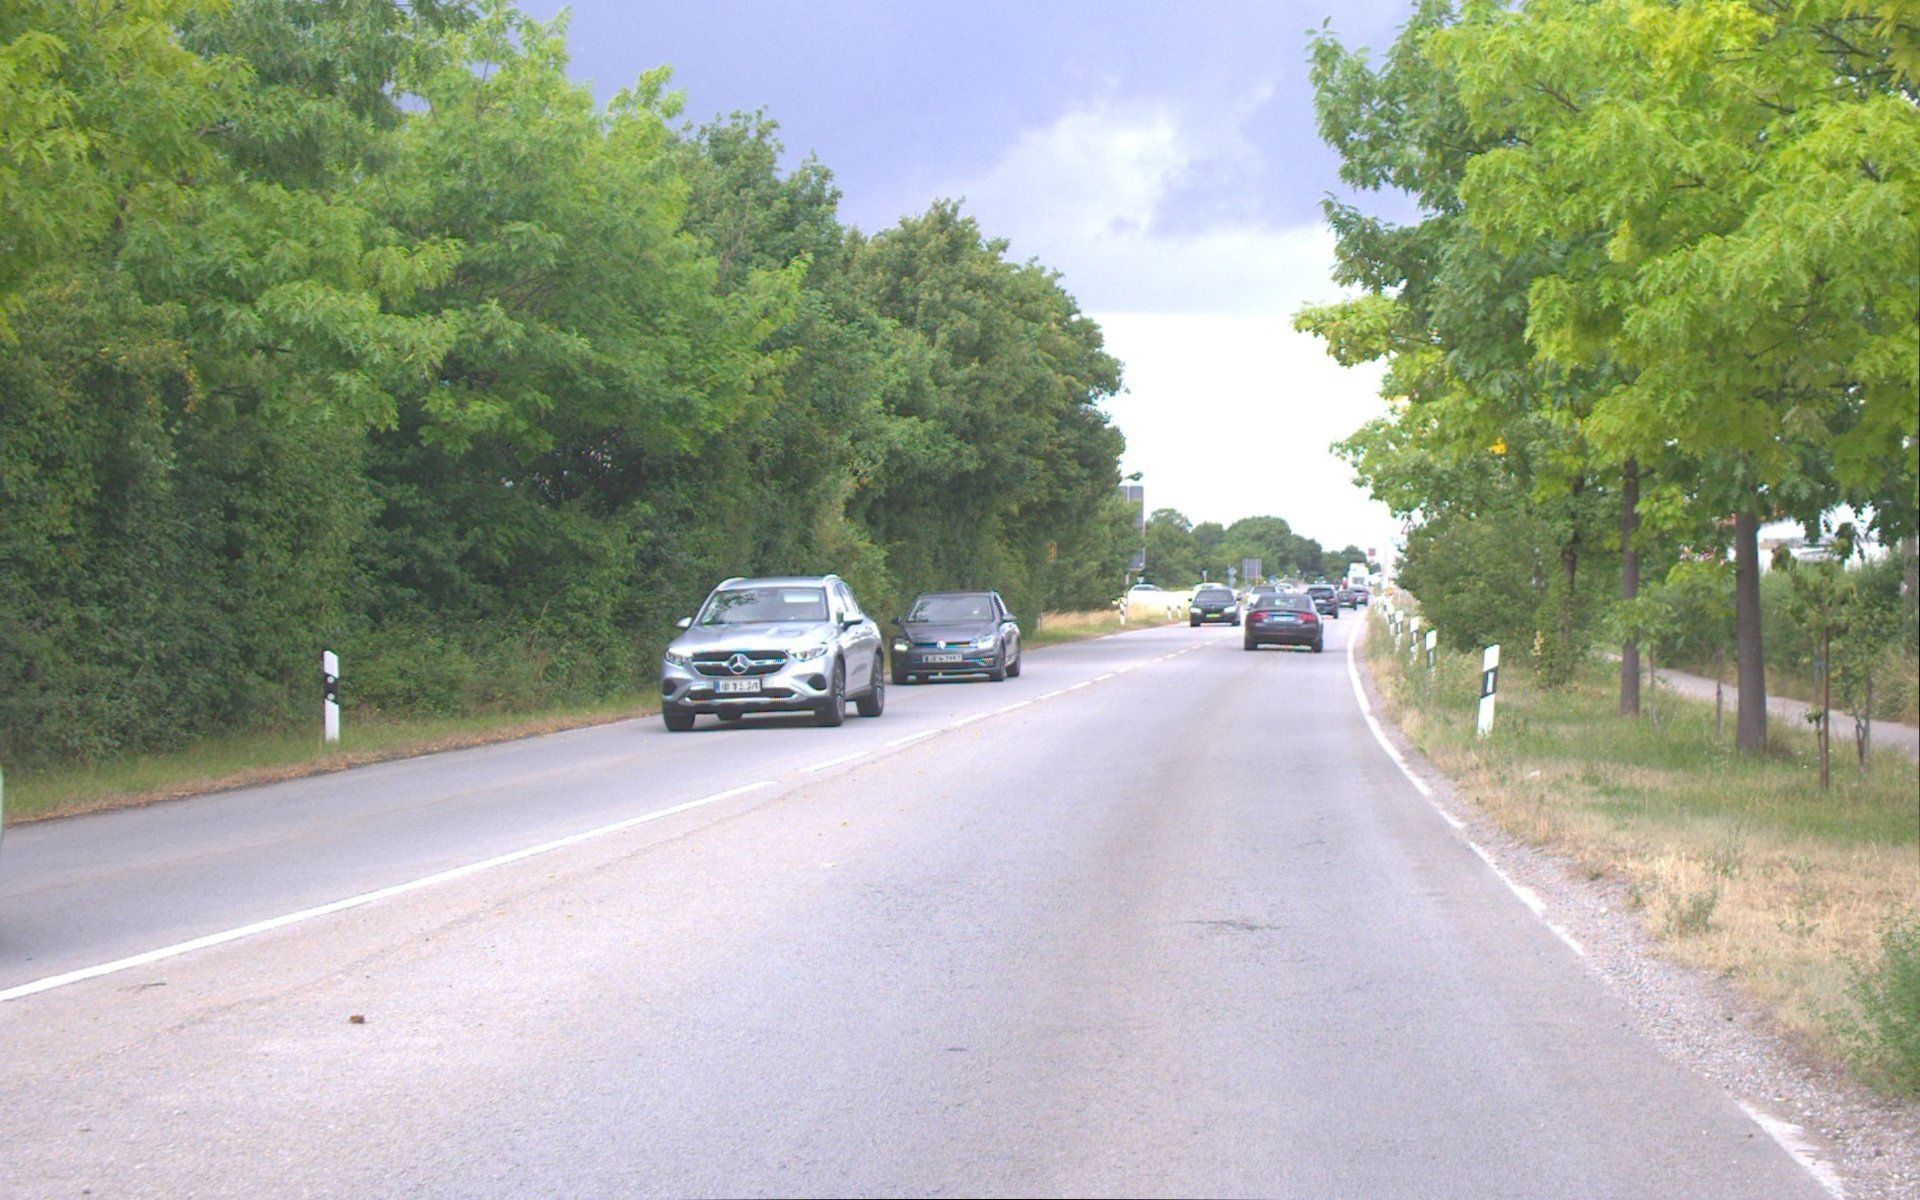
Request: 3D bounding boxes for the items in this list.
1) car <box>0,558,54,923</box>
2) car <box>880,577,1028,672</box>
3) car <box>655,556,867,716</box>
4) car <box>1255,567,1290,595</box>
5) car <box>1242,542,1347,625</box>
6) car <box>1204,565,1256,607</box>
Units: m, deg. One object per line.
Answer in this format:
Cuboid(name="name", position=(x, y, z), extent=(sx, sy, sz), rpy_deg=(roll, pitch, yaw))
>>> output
Cuboid(name="car", position=(-5.246, 0.641, 11.933), extent=(2.214, 1.449, 4.941), rpy_deg=(-2, 1, 9))
Cuboid(name="car", position=(-0.051, 0.362, 55.395), extent=(1.994, 1.414, 4.477), rpy_deg=(-2, 0, 5))
Cuboid(name="car", position=(-2.115, 0.361, 37.769), extent=(1.993, 1.596, 4.665), rpy_deg=(-2, 0, 0))
Cuboid(name="car", position=(19.232, -1.190, 211.273), extent=(1.994, 1.678, 4.808), rpy_deg=(0, 1, 7))
Cuboid(name="car", position=(7.958, -0.387, 82.136), extent=(2.372, 1.874, 4.477), rpy_deg=(-2, 0, 5))
Cuboid(name="car", position=(10.596, -0.559, 134.851), extent=(1.940, 1.581, 4.555), rpy_deg=(-2, 0, 5))
